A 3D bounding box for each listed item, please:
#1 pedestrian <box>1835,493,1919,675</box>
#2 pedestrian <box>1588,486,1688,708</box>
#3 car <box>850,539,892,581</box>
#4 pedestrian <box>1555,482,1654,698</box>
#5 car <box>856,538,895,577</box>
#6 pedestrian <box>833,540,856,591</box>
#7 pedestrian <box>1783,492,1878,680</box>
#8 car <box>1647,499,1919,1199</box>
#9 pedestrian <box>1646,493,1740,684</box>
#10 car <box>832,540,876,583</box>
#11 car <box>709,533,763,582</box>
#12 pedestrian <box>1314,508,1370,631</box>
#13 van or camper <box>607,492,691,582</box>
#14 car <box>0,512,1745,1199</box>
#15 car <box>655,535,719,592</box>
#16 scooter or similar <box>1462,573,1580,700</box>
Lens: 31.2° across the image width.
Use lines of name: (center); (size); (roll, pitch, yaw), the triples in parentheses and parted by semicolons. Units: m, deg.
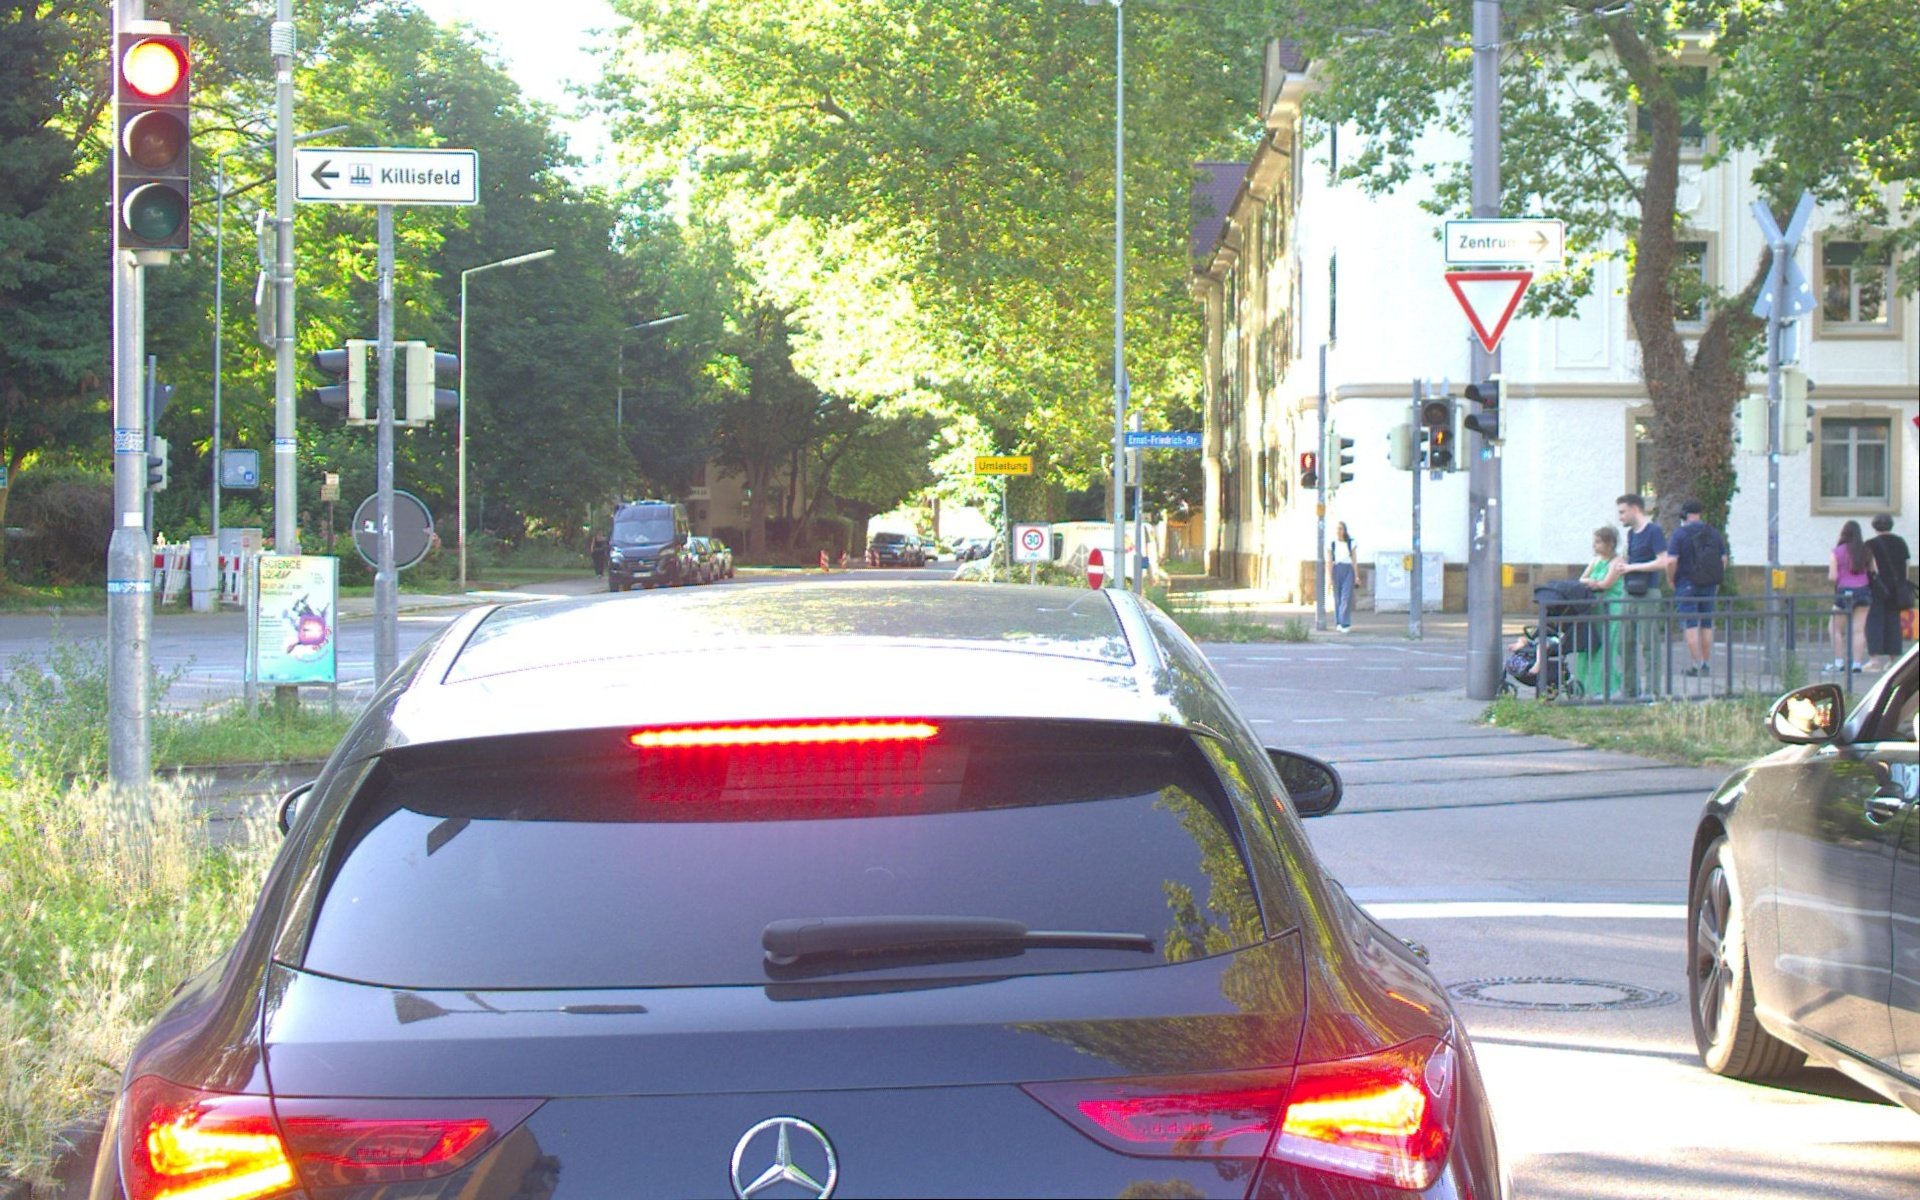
pedestrian: (9.834, -0.176, 36.672); (0.705, 1.911, 0.839); (1, 0, -4)
pedestrian: (5.913, -0.030, 29.993); (0.682, 1.911, 0.707); (1, 0, -2)
car: (-3.875, -1.741, 150.386); (1.733, 1.759, 4.019); (1, 1, -1)
pedestrian: (5.785, -0.093, 30.894); (0.682, 1.911, 0.707); (1, 0, -4)
car: (-3.897, -1.963, 158.469); (1.733, 1.759, 4.019); (1, 1, -1)
pedestrian: (-4.364, -1.318, 130.030); (0.705, 1.911, 0.839); (1, 0, -10)
pedestrian: (9.024, -0.148, 35.672); (0.705, 1.911, 0.839); (1, 0, -4)
car: (2.876, 0.596, 7.257); (1.889, 1.485, 4.382); (1, 3, -1)
pedestrian: (7.485, -0.121, 35.118); (0.705, 1.911, 0.839); (1, 0, -4)
car: (-4.478, -1.641, 145.566); (1.733, 1.759, 4.019); (1, 1, -1)
car: (-8.224, -1.560, 126.406); (1.733, 1.759, 3.971); (1, 1, -1)
pedestrian: (6.020, -0.477, 54.236); (0.705, 1.911, 0.839); (1, 0, -4)
van or camper: (-8.991, -1.799, 99.741); (1.993, 2.532, 4.651); (1, 1, 0)
car: (-0.158, 0.652, 5.416); (1.889, 1.445, 4.001); (1, 3, 1)
car: (-8.689, -1.152, 109.763); (1.733, 1.759, 4.342); (1, 1, -1)
scooter or similar: (4.968, 0.316, 30.482); (0.828, 1.101, 0.809); (1, 0, -6)
